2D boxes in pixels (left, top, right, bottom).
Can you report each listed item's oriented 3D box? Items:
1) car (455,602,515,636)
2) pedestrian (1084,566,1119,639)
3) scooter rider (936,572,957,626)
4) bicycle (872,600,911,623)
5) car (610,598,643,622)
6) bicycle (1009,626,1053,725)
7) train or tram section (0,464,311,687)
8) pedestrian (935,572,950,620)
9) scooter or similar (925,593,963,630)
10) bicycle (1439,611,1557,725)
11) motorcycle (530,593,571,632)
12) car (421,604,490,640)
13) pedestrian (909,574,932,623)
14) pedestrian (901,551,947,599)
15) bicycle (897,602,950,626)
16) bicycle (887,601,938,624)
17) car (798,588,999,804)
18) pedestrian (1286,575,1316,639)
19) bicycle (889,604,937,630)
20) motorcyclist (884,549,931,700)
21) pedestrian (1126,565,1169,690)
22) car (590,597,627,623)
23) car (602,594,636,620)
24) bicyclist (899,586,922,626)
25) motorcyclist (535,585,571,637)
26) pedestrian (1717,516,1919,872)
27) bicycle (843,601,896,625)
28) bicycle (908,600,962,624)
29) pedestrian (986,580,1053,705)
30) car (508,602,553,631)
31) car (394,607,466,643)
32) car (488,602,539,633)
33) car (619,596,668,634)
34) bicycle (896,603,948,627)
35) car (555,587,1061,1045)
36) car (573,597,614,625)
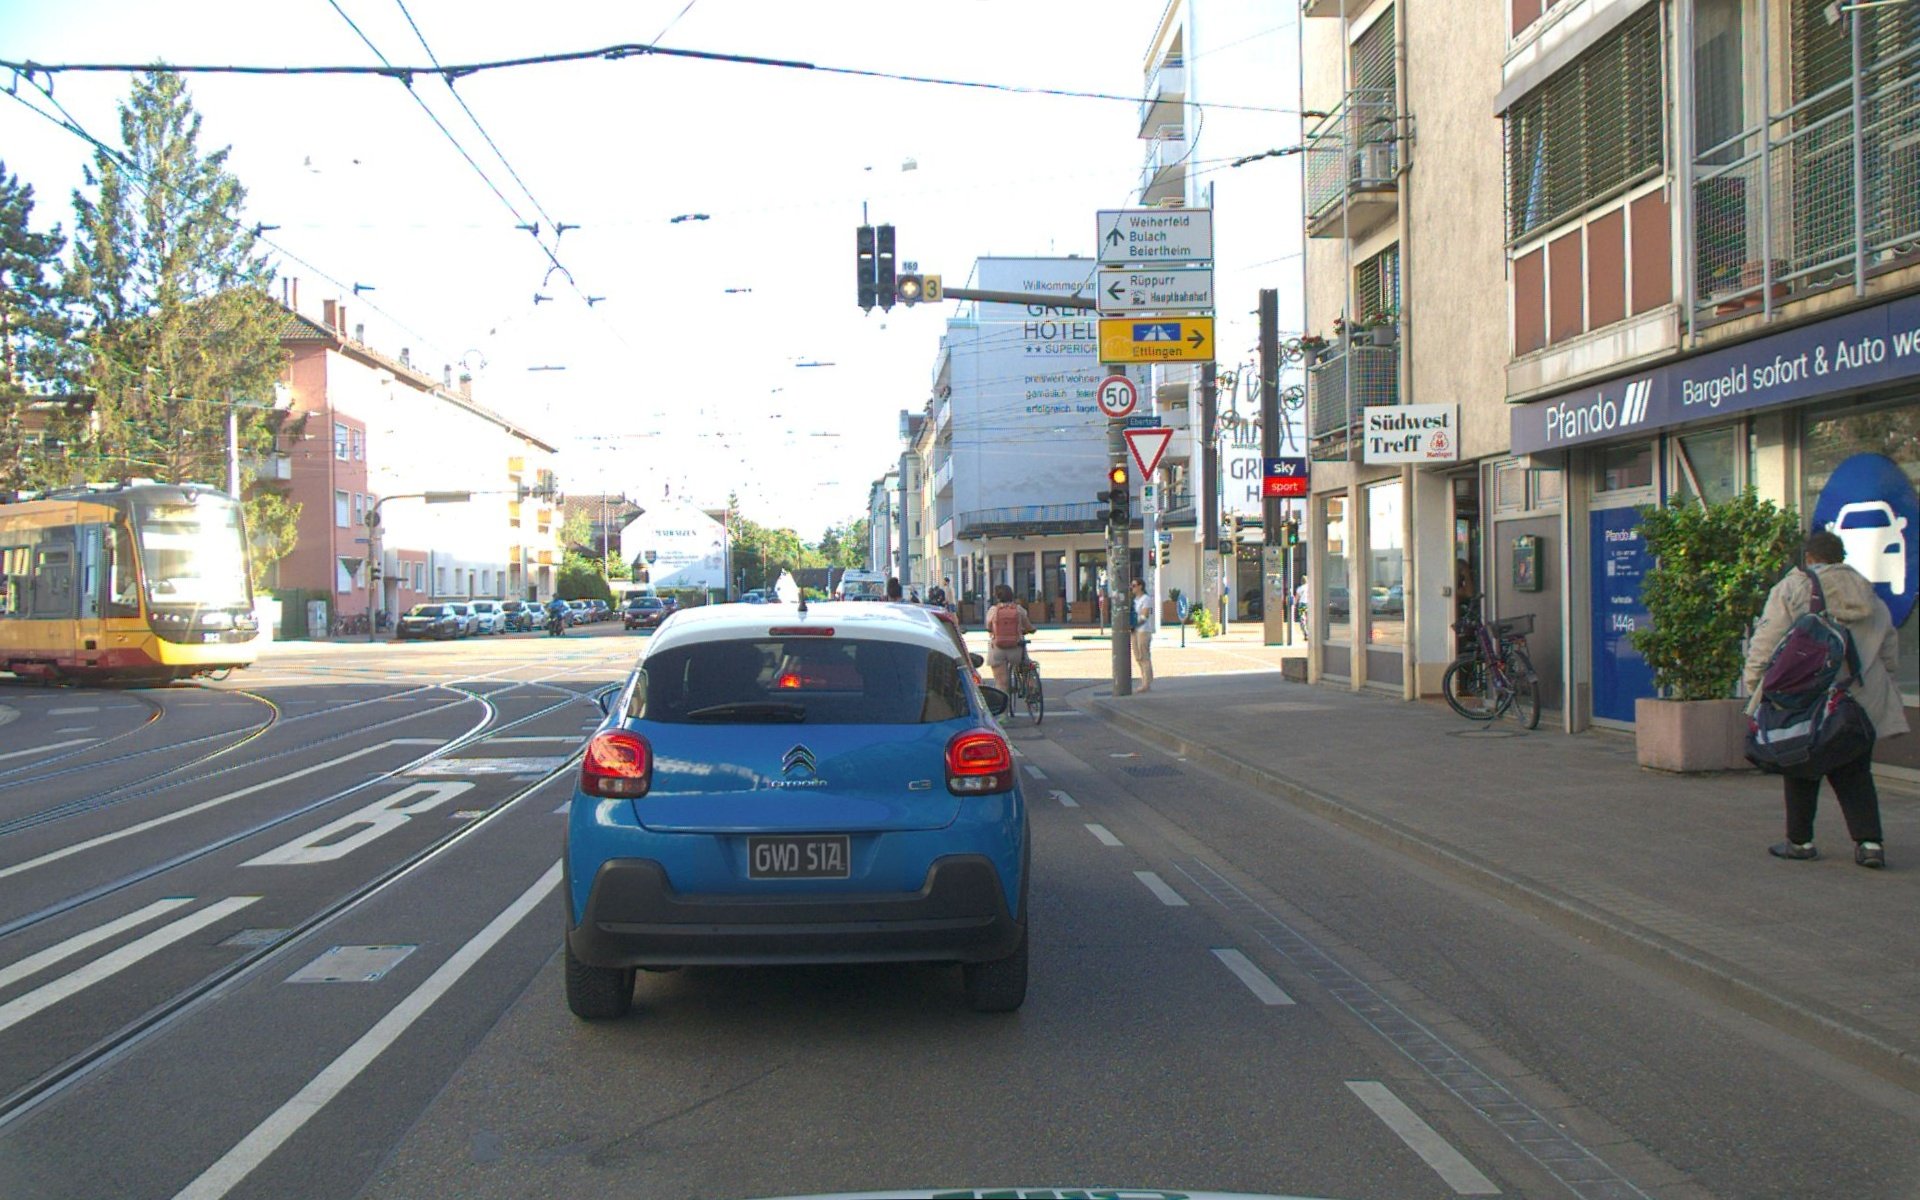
[{"bbox_3d":[-22.633,0.880,78.886,1.751,1.537,4.148,1,0,-2],"label":"car"},{"bbox_3d":[4.014,0.070,46.976,0.907,2.049,0.759,1,-1,-1],"label":"pedestrian"},{"bbox_3d":[-0.467,-0.035,58.734,0.707,1.864,0.717,-1,0,0],"label":"scooter rider"},{"bbox_3d":[-2.873,0.477,69.364,1.751,0.917,0.365,1,-1,34],"label":"bicycle"},{"bbox_3d":[-24.326,0.702,120.835,1.809,1.716,3.871,1,0,-4],"label":"car"},{"bbox_3d":[0.874,0.908,20.589,0.419,1.142,1.998,1,0,-1],"label":"bicycle"},{"bbox_3d":[-17.535,-0.358,32.119,12.379,3.656,3.060,-1,1,37],"label":"train or tram section"},{"bbox_3d":[-0.751,-0.164,70.063,0.565,2.049,0.625,1,-1,-3],"label":"pedestrian"},{"bbox_3d":[-0.556,0.405,58.731,1.322,1.291,0.443,-1,0,0],"label":"scooter or similar"},{"bbox_3d":[5.091,0.620,15.746,0.531,1.016,1.705,1,0,-1],"label":"bicycle"},{"bbox_3d":[-16.402,0.493,66.378,0.905,1.512,3.723,1,0,-4],"label":"motorcycle"},{"bbox_3d":[-22.443,0.951,73.718,1.778,1.524,4.299,1,0,-1],"label":"car"},{"bbox_3d":[-1.652,-0.064,69.059,0.625,2.049,0.715,1,-1,-37],"label":"pedestrian"},{"bbox_3d":[-1.605,-1.085,73.517,1.953,2.049,3.999,1,0,-1],"label":"pedestrian"},{"bbox_3d":[-1.483,0.565,67.035,2.093,0.917,0.366,1,-1,-10],"label":"bicycle"},{"bbox_3d":[-1.961,0.500,68.243,2.093,0.917,0.366,1,-1,-10],"label":"bicycle"},{"bbox_3d":[-0.458,0.687,13.151,1.395,1.493,2.923,-1,0,-1],"label":"car"},{"bbox_3d":[8.798,0.173,42.673,0.720,1.629,0.749,1,-1,12],"label":"pedestrian"},{"bbox_3d":[-1.789,0.646,63.043,1.814,0.919,0.350,1,-1,19],"label":"bicycle"},{"bbox_3d":[-0.615,0.291,19.599,0.516,1.746,0.717,1,-1,-1],"label":"motorcyclist"},{"bbox_3d":[2.763,0.397,24.405,0.507,1.814,0.595,1,-1,-3],"label":"pedestrian"},{"bbox_3d":[-23.575,0.675,111.040,1.845,1.716,3.997,1,0,-4],"label":"car"},{"bbox_3d":[-23.950,0.488,116.211,1.797,1.716,3.997,1,0,-4],"label":"car"},{"bbox_3d":[-1.893,0.224,63.056,0.730,1.503,0.563,1,-1,17],"label":"bicyclist"},{"bbox_3d":[-16.407,0.427,66.643,1.162,2.049,1.274,-1,0,-4],"label":"motorcyclist"},{"bbox_3d":[4.224,0.434,7.954,0.808,1.620,0.751,1,-1,-1],"label":"pedestrian"},{"bbox_3d":[-3.610,0.525,66.190,2.093,0.917,0.366,1,-1,-10],"label":"bicycle"},{"bbox_3d":[-1.005,0.482,65.912,2.093,0.917,0.366,1,-1,-10],"label":"bicycle"},{"bbox_3d":[0.721,0.508,20.209,0.761,1.486,0.681,1,-1,-1],"label":"pedestrian"},{"bbox_3d":[-23.776,0.913,91.687,1.699,1.524,3.996,1,0,-5],"label":"car"},{"bbox_3d":[-21.902,1.009,68.457,1.757,1.446,3.994,1,0,-2],"label":"car"},{"bbox_3d":[-23.076,0.879,85.651,1.750,1.524,3.997,1,0,-4],"label":"car"},{"bbox_3d":[-14.557,0.685,76.202,1.740,1.695,3.853,1,0,-4],"label":"car"},{"bbox_3d":[-1.555,0.615,67.507,2.093,0.917,0.366,1,-1,-10],"label":"bicycle"},{"bbox_3d":[-0.518,0.712,7.148,1.620,1.469,3.522,1,0,-1],"label":"car"},{"bbox_3d":[-23.406,0.691,105.763,1.944,1.716,3.997,1,0,-4],"label":"car"}]
